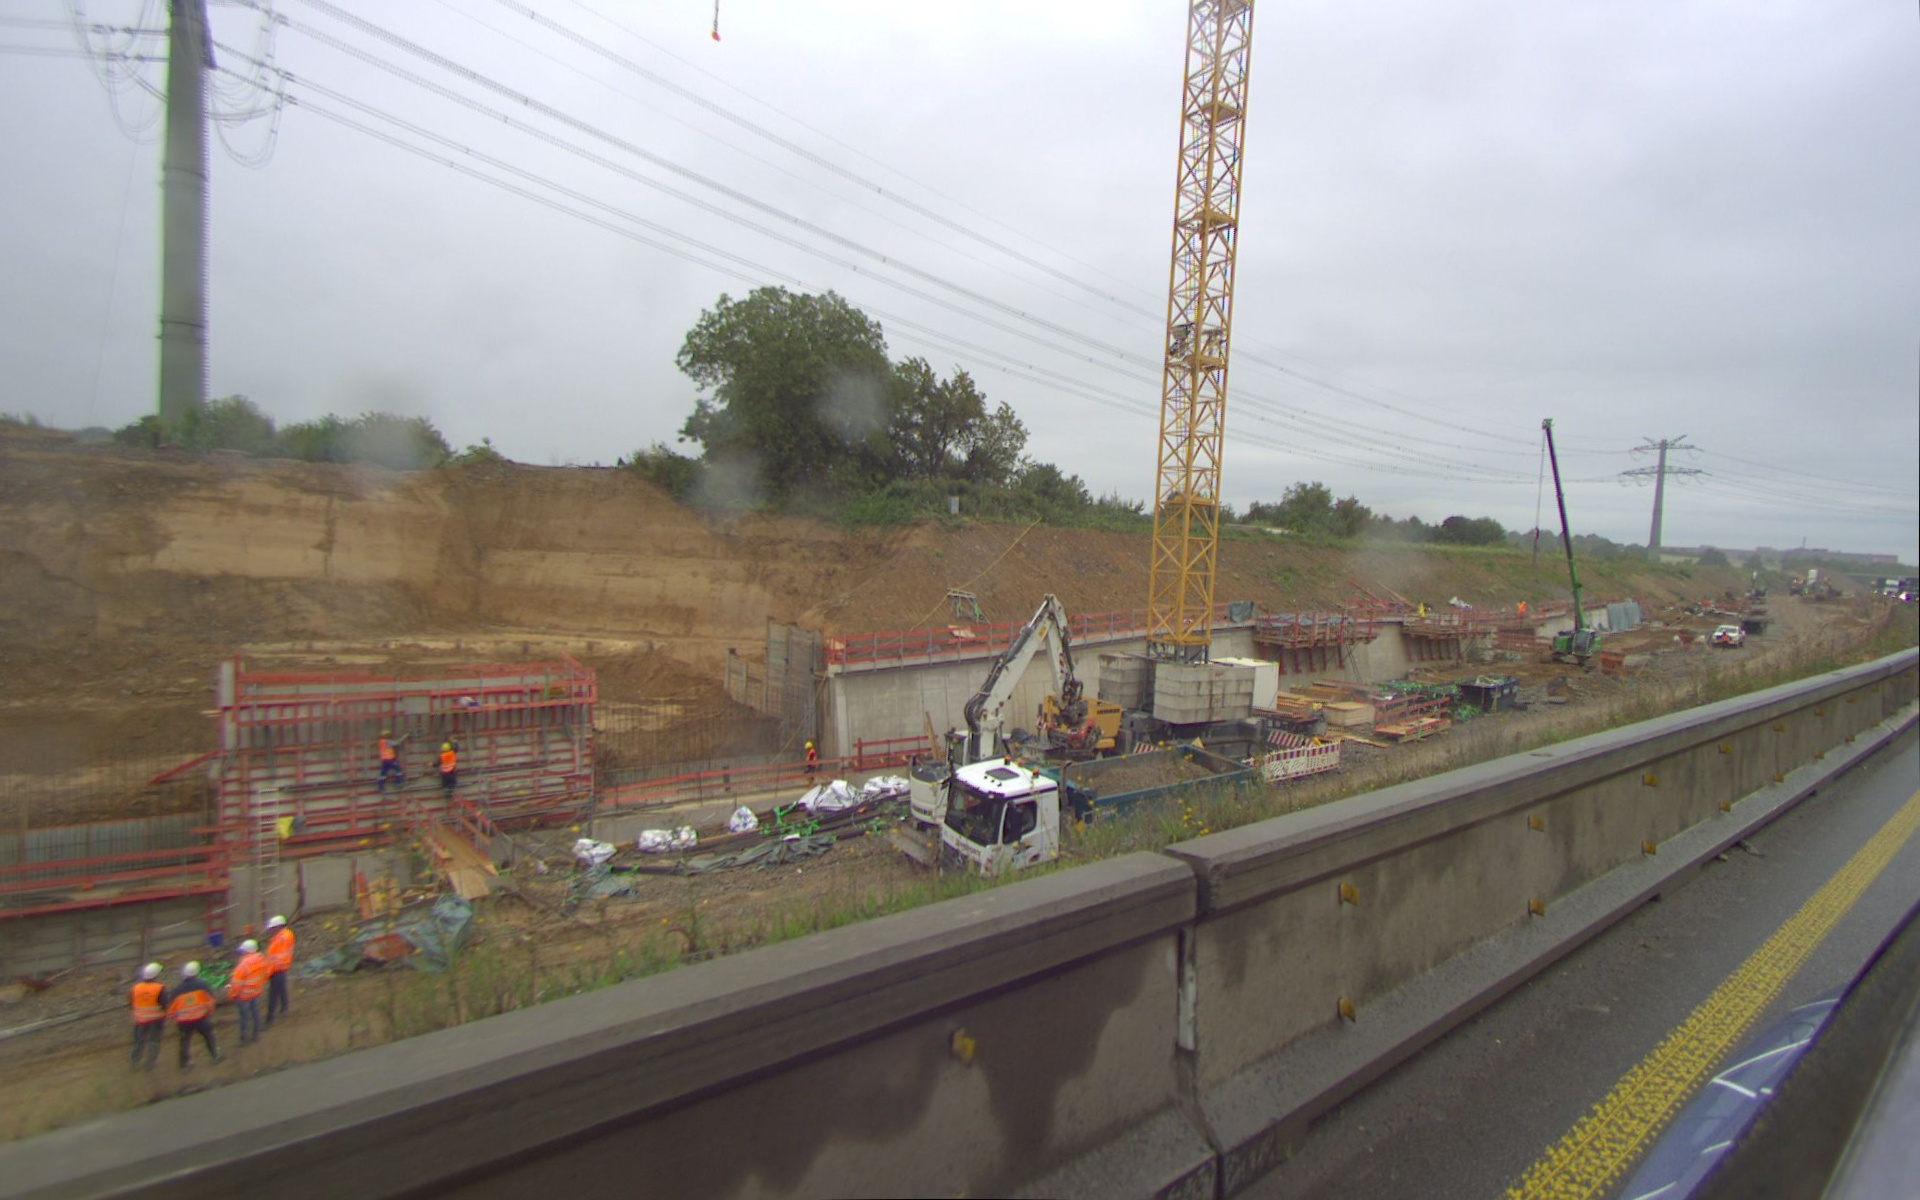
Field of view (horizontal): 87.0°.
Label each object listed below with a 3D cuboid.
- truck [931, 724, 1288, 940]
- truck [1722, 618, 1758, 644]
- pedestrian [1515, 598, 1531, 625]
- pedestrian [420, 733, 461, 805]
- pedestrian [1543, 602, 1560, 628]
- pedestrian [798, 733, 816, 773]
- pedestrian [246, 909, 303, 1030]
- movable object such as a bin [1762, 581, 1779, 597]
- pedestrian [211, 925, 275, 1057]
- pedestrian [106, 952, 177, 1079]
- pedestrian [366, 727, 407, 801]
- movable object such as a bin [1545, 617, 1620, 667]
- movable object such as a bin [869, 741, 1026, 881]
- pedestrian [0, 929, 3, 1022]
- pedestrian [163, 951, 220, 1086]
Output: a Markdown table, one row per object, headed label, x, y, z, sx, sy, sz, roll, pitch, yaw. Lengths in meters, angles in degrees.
| label | x | y | z | sx | sy | sz | roll | pitch | yaw |
| --- | --- | --- | --- | --- | --- | --- | --- | --- | --- |
| truck | 3.806 | 5.273 | 24.559 | 8.768 | 3.547 | 2.711 | -1 | 1 | -29 |
| truck | 67.886 | 2.643 | 88.045 | 1.763 | 1.894 | 5.694 | 4 | 4 | 44 |
| pedestrian | 49.934 | 1.006 | 89.806 | 0.914 | 2.275 | 0.991 | -5 | -2 | 41 |
| pedestrian | -15.669 | 5.089 | 30.534 | 0.882 | 2.027 | 0.904 | -1 | -9 | -36 |
| pedestrian | 53.653 | 1.355 | 91.851 | 0.989 | 2.260 | 0.916 | -2 | -2 | -41 |
| pedestrian | -5.768 | 5.789 | 38.245 | 0.392 | 1.455 | 0.424 | -1 | -8 | -38 |
| pedestrian | -12.776 | 6.870 | 18.876 | 0.564 | 1.968 | 0.736 | 0 | 1 | -3 |
| movable object such as a bin | 146.889 | -1.976 | 183.477 | 2.244 | 2.753 | 3.941 | 0 | 1 | 41 |
| pedestrian | -12.686 | 6.891 | 17.915 | 0.568 | 1.968 | 0.730 | 0 | 1 | 21 |
| pedestrian | -13.853 | 7.014 | 17.135 | 0.720 | 1.893 | 0.576 | 0 | 1 | -4 |
| pedestrian | -16.829 | 4.798 | 29.671 | 0.882 | 2.027 | 0.904 | -1 | -9 | -36 |
| movable object such as a bin | 45.965 | 3.011 | 74.713 | 3.793 | 2.836 | 4.783 | 2 | 7 | 44 |
| movable object such as a bin | -0.354 | 5.535 | 27.296 | 2.917 | 2.772 | 3.155 | -1 | 1 | -41 |
| pedestrian | -22.295 | 8.613 | 22.866 | 0.889 | 2.027 | 0.897 | -1 | -9 | -37 |
| pedestrian | -12.928 | 7.011 | 17.041 | 0.721 | 1.893 | 0.575 | -1 | 1 | -34 |
